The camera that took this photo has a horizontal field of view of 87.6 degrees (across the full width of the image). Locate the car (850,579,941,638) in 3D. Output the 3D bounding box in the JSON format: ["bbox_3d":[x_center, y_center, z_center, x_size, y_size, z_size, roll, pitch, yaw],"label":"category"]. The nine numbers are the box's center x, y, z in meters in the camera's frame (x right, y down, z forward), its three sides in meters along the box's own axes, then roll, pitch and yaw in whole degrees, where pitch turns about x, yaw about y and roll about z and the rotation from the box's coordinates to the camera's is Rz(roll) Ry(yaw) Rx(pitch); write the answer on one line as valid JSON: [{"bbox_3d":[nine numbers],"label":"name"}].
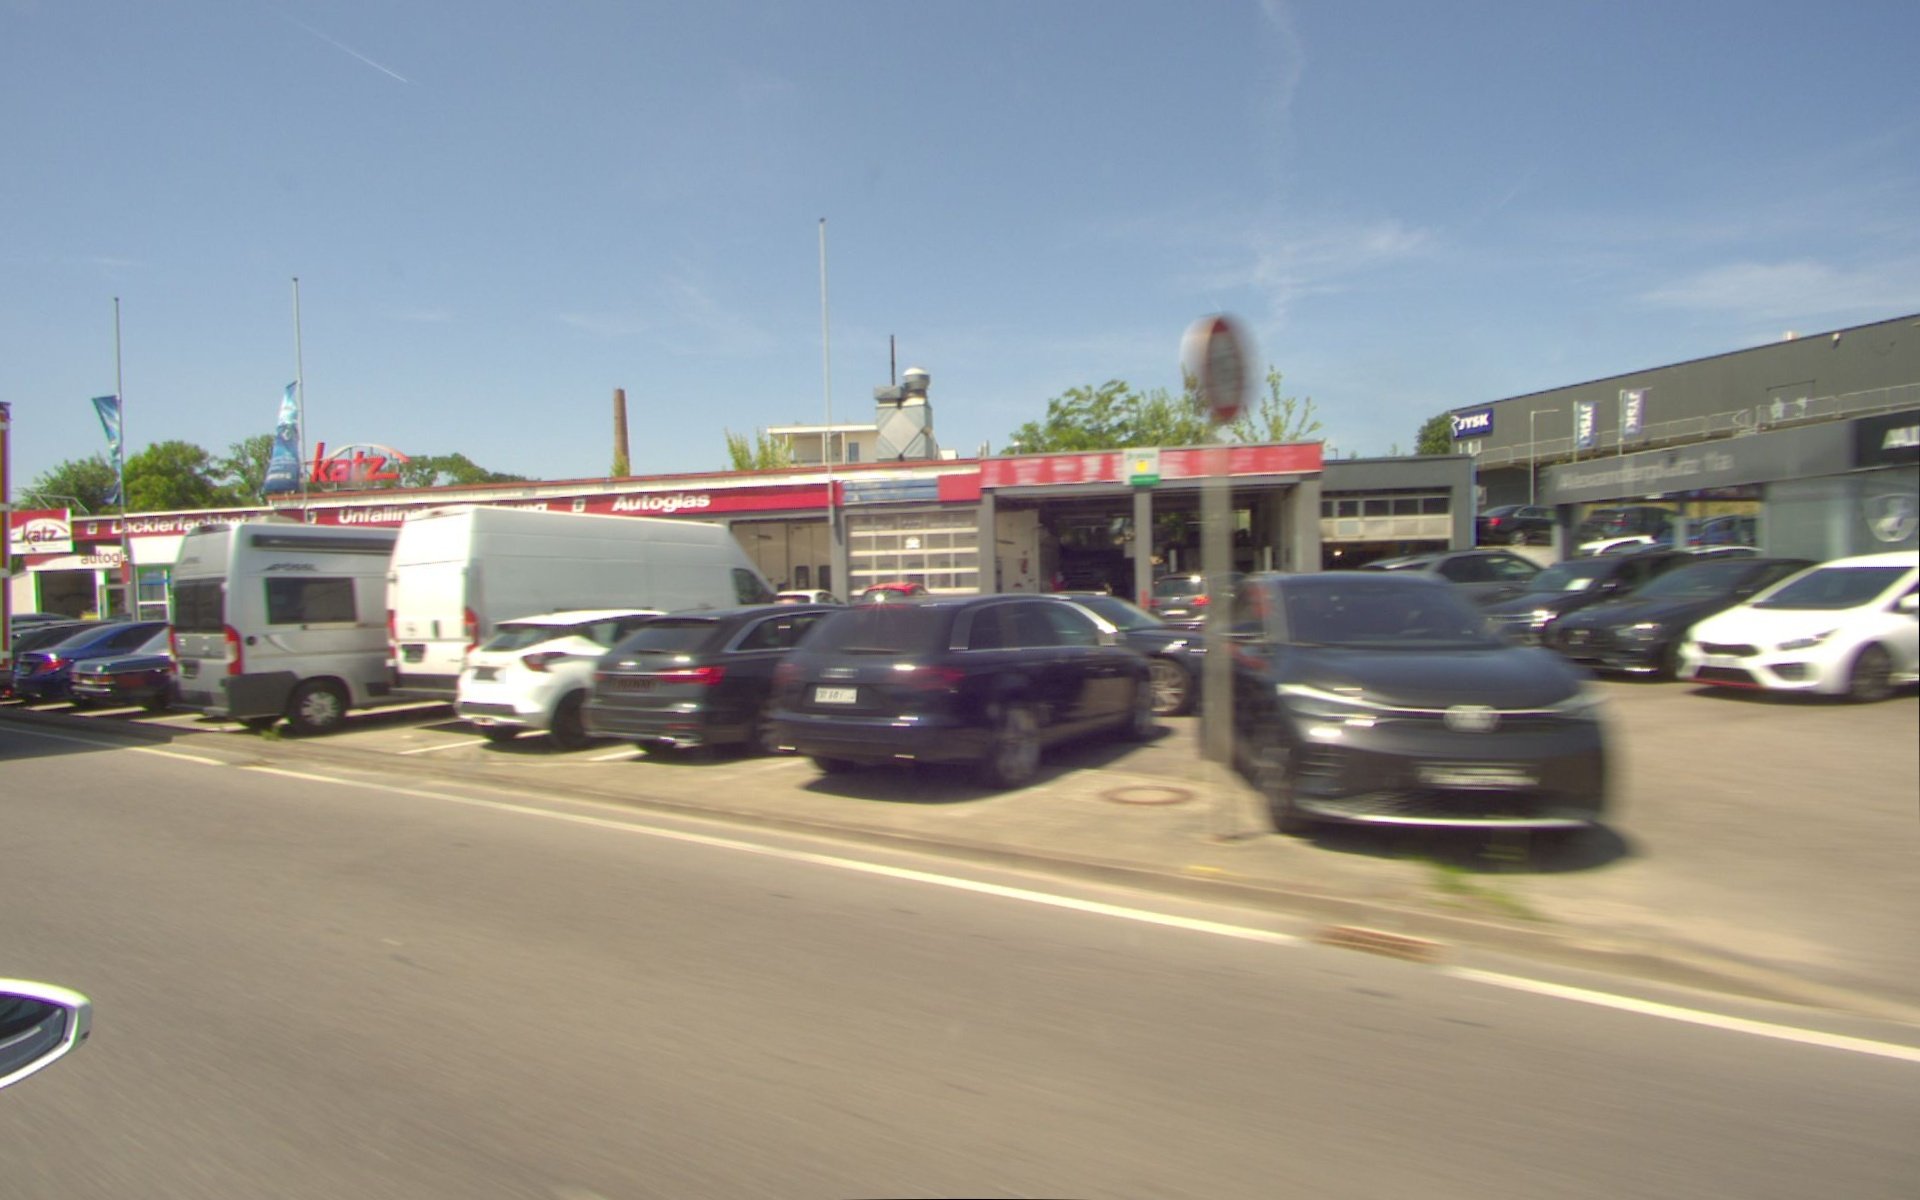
[{"bbox_3d":[-1.671,0.265,26.953,1.646,1.468,3.599,0,-1,10],"label":"car"}]

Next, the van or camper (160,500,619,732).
[{"bbox_3d":[-8.063,0.188,14.812,2.202,2.766,5.459,0,0,34],"label":"van or camper"}]

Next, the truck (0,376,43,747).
[{"bbox_3d":[-18.566,-0.293,15.031,17.389,4.147,2.966,-1,-1,34],"label":"truck"}]

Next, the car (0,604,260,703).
[{"bbox_3d":[-16.985,1.005,20.342,1.948,1.502,4.004,-1,3,27],"label":"car"}]

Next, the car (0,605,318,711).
[{"bbox_3d":[-14.874,0.977,18.724,2.133,1.433,4.251,-1,4,33],"label":"car"}]

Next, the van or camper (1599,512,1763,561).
[{"bbox_3d":[22.834,-1.990,31.796,3.922,1.375,1.857,-1,-1,-4],"label":"van or camper"}]

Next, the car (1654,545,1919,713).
[{"bbox_3d":[10.148,0.223,11.190,3.867,1.504,1.730,-4,2,-12],"label":"car"}]

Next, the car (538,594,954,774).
[{"bbox_3d":[-2.037,0.731,10.848,2.051,1.519,4.319,-1,0,30],"label":"car"}]

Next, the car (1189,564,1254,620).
[{"bbox_3d":[8.346,-0.236,32.166,1.878,1.639,3.996,-1,0,13],"label":"car"}]

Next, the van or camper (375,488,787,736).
[{"bbox_3d":[-5.253,0.141,14.735,2.202,2.944,5.353,0,0,34],"label":"van or camper"}]

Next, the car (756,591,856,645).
[{"bbox_3d":[-4.130,0.503,27.374,1.646,1.392,3.599,0,-1,10],"label":"car"}]

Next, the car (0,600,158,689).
[{"bbox_3d":[-21.013,1.009,22.517,2.164,1.698,4.009,-2,3,22],"label":"car"}]

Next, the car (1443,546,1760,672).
[{"bbox_3d":[10.101,0.098,15.884,4.071,1.590,1.852,-4,2,-12],"label":"car"}]

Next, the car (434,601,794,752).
[{"bbox_3d":[-4.036,0.789,12.194,1.829,1.519,3.797,-1,0,35],"label":"car"}]

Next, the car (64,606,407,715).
[{"bbox_3d":[-12.421,0.936,17.493,1.758,1.539,4.501,-1,1,34],"label":"car"}]

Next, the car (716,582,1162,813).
[{"bbox_3d":[0.112,0.663,8.966,2.051,1.519,4.319,-1,0,30],"label":"car"}]

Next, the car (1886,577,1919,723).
[{"bbox_3d":[10.951,0.344,8.986,4.071,1.329,1.852,-4,2,-12],"label":"car"}]

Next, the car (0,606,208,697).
[{"bbox_3d":[-18.867,1.052,21.356,1.948,1.502,4.004,-1,3,27],"label":"car"}]

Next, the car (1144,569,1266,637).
[{"bbox_3d":[6.303,0.123,25.558,1.658,1.601,3.573,-1,-1,40],"label":"car"}]

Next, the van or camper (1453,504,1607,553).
[{"bbox_3d":[18.331,-2.278,32.302,3.922,1.375,1.857,-1,-1,-4],"label":"van or camper"}]

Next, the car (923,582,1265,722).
[{"bbox_3d":[1.659,0.605,13.453,4.336,1.548,1.798,-1,1,44],"label":"car"}]

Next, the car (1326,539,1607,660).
[{"bbox_3d":[9.092,-0.038,18.183,4.068,1.813,1.967,-4,2,-5],"label":"car"}]

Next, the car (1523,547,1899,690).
[{"bbox_3d":[10.129,0.193,13.624,4.071,1.518,1.852,-4,2,-12],"label":"car"}]

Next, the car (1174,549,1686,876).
[{"bbox_3d":[2.851,0.563,7.294,2.022,1.646,4.338,-1,1,6],"label":"car"}]
